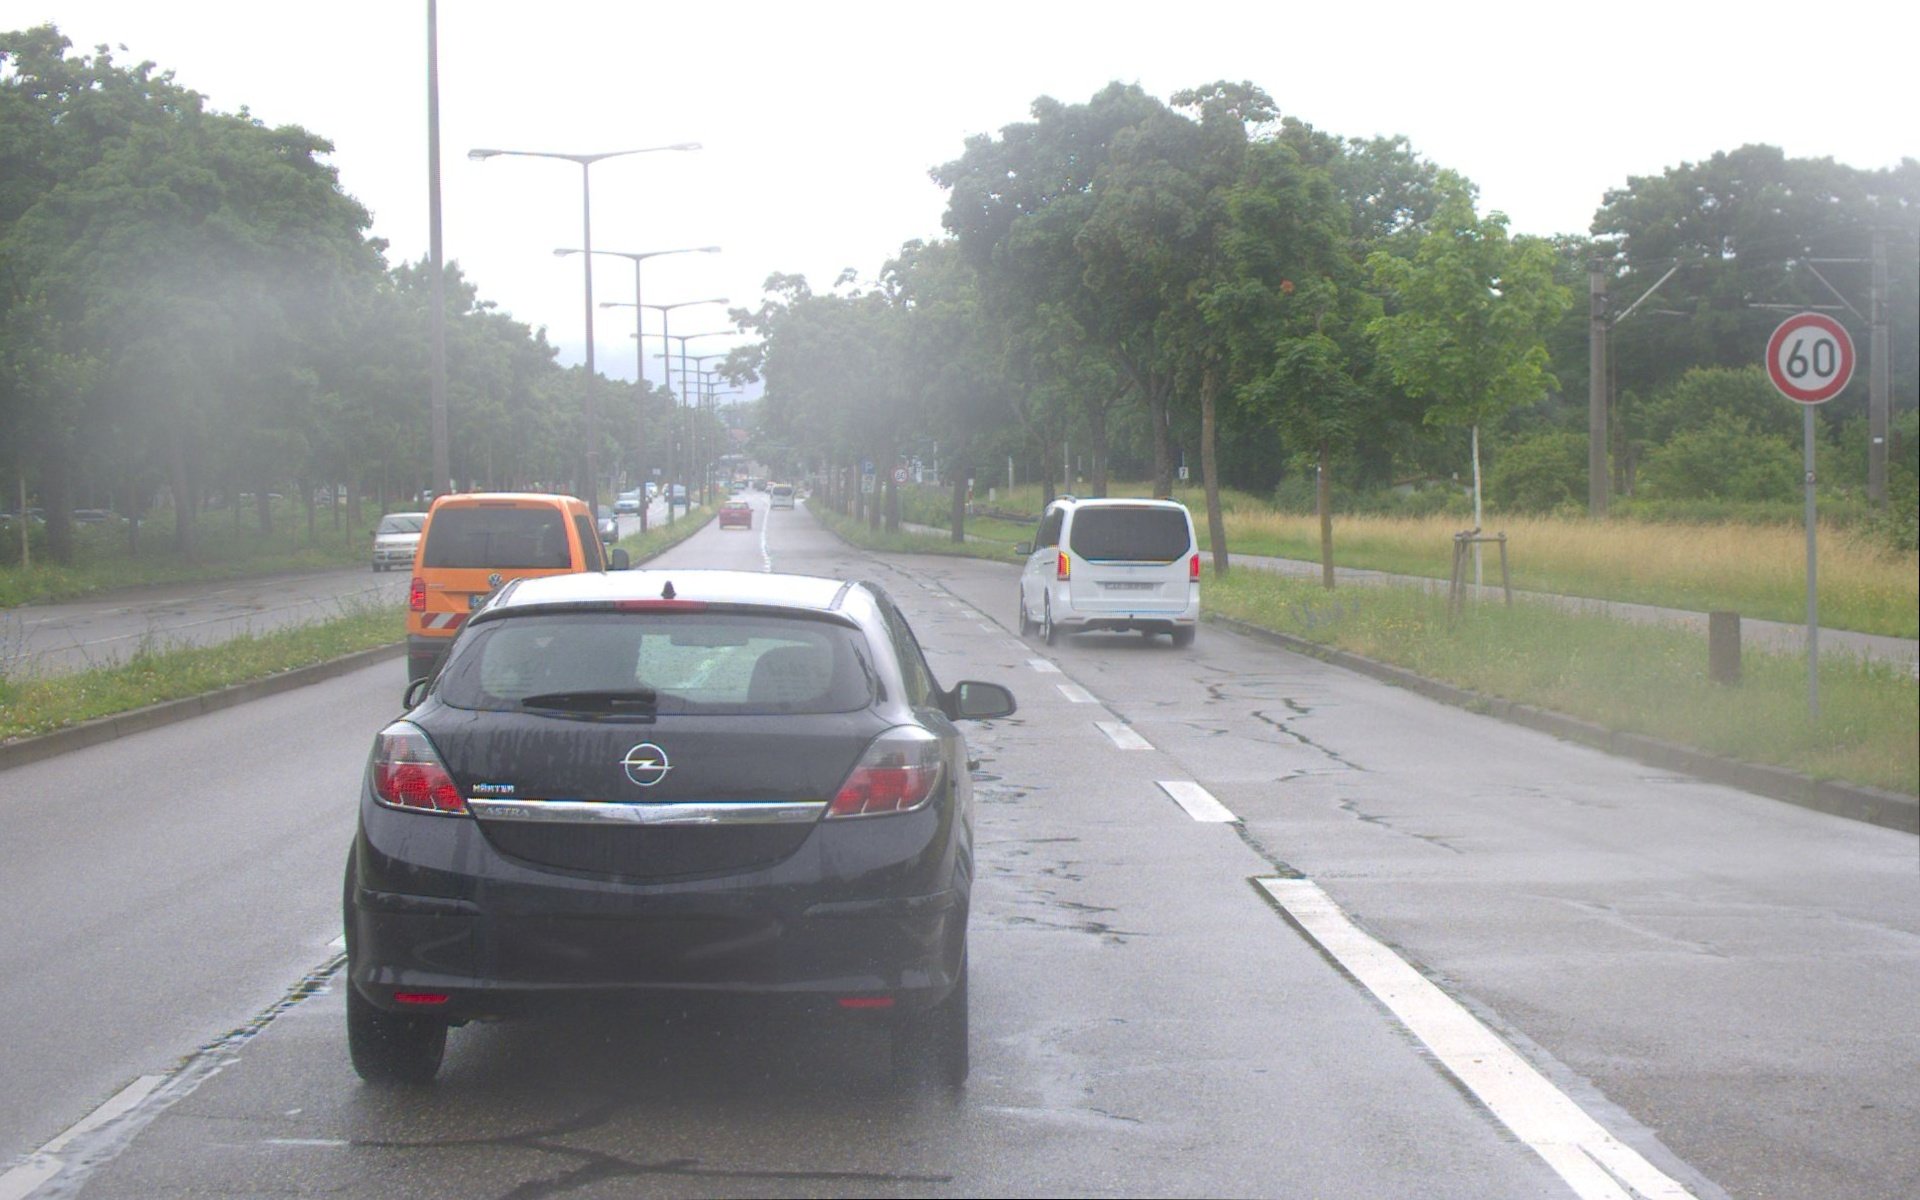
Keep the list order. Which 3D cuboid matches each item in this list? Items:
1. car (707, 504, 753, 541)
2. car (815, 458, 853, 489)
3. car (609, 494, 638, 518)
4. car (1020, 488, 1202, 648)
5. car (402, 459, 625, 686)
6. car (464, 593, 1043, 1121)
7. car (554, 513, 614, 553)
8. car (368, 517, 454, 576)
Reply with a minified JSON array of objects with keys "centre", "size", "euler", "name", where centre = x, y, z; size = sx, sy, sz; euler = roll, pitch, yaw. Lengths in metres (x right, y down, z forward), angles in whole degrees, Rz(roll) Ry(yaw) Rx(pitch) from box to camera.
[{"centre":[-11.771,-3.952,176.121],"size":[1.993,1.873,4.000],"euler":[1,1,1],"name":"car"},{"centre":[-8.754,-8.782,238.837],"size":[2.516,2.045,5.294],"euler":[2,1,-2],"name":"car"},{"centre":[-23.032,-6.456,235.429],"size":[1.720,1.524,3.810],"euler":[0,3,-1],"name":"car"},{"centre":[1.914,-0.439,44.928],"size":[2.059,1.968,4.609],"euler":[1,1,-1],"name":"car"},{"centre":[-4.233,-0.299,33.222],"size":[1.734,2.012,4.850],"euler":[1,1,-3],"name":"car"},{"centre":[-0.495,0.647,10.612],"size":[1.463,1.324,3.758],"euler":[0,0,1],"name":"car"},{"centre":[-13.757,-2.467,125.970],"size":[1.827,1.445,3.809],"euler":[0,2,-1],"name":"car"},{"centre":[-14.945,-1.469,93.743],"size":[1.683,1.548,4.000],"euler":[1,1,0],"name":"car"}]
